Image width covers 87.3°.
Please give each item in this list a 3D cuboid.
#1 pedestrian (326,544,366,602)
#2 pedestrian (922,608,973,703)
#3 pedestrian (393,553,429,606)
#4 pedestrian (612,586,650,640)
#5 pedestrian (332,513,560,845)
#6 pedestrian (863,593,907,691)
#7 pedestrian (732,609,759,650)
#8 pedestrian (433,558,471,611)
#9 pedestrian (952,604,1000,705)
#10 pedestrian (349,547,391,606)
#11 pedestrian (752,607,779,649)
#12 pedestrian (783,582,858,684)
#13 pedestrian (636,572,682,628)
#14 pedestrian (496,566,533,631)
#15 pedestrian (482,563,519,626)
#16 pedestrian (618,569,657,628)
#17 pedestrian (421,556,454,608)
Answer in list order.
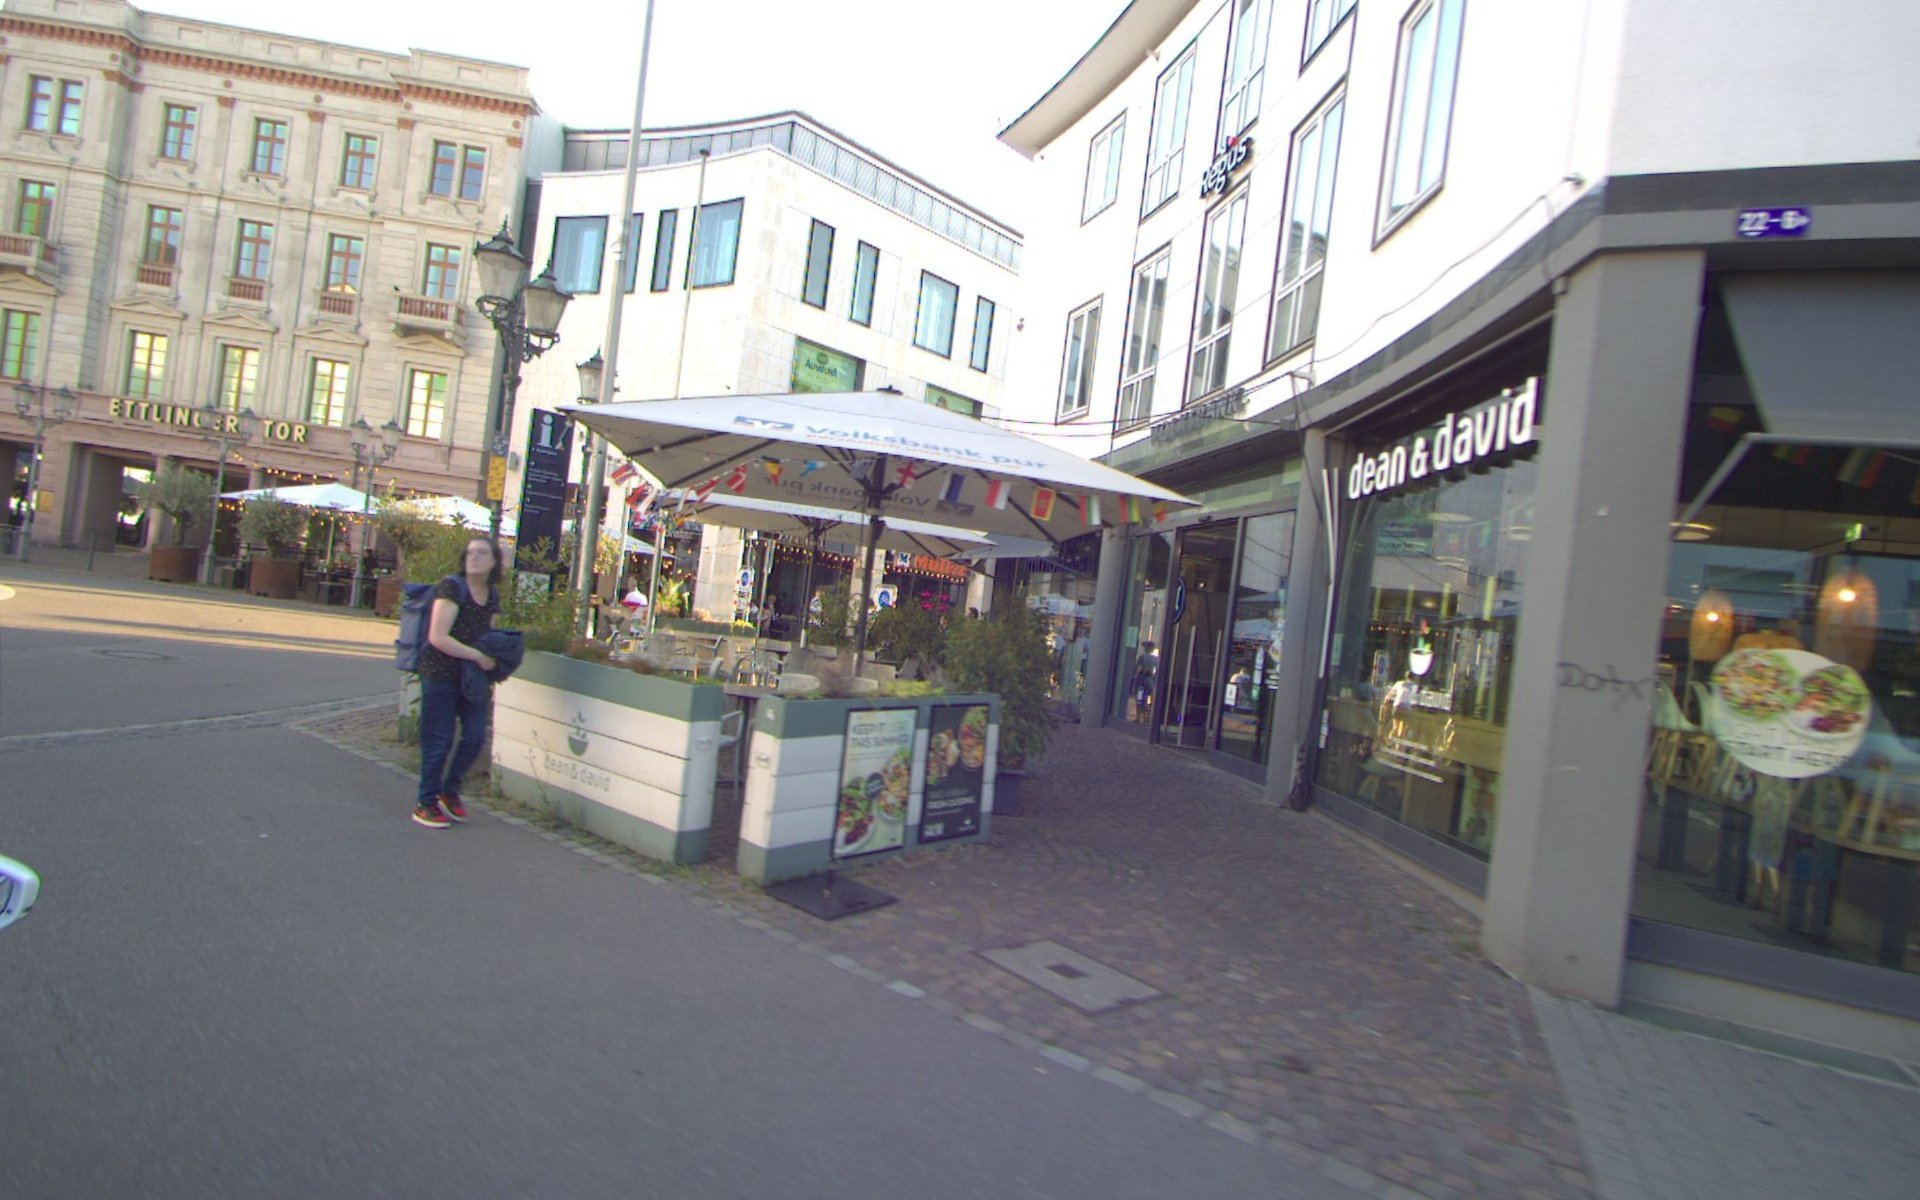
[{"bbox_3d":[-17.045,-0.744,27.926,0.613,1.496,0.545,7,0,27],"label":"pedestrian"},{"bbox_3d":[-0.235,1.045,19.008,0.595,1.711,0.498,7,0,43],"label":"pedestrian"},{"bbox_3d":[-16.564,-0.627,30.361,0.614,1.496,0.590,7,0,37],"label":"pedestrian"},{"bbox_3d":[-8.597,0.339,26.299,0.715,1.326,0.546,7,0,45],"label":"pedestrian"},{"bbox_3d":[-2.856,0.420,5.627,0.683,1.667,0.692,7,0,25],"label":"pedestrian"},{"bbox_3d":[-1.564,0.867,20.858,0.674,1.919,0.872,7,0,-6],"label":"pedestrian"},{"bbox_3d":[-6.300,0.856,29.588,0.541,1.124,0.536,7,0,-1],"label":"pedestrian"},{"bbox_3d":[-15.397,-0.473,30.523,0.612,1.496,0.625,7,0,16],"label":"pedestrian"},{"bbox_3d":[0.309,1.053,19.512,0.555,1.877,0.458,7,0,40],"label":"pedestrian"},{"bbox_3d":[-16.151,-0.637,27.559,0.672,1.496,0.588,7,0,29],"label":"pedestrian"},{"bbox_3d":[-5.860,0.838,30.280,0.463,1.170,0.497,7,0,35],"label":"pedestrian"},{"bbox_3d":[-2.882,0.691,20.924,1.007,1.955,1.011,7,0,15],"label":"pedestrian"},{"bbox_3d":[-9.750,0.002,32.621,0.854,1.667,0.928,7,0,38],"label":"pedestrian"},{"bbox_3d":[-10.901,-0.028,24.621,0.527,1.496,0.555,7,0,-44],"label":"pedestrian"},{"bbox_3d":[-11.502,-0.145,25.170,0.555,1.496,0.527,7,0,44],"label":"pedestrian"},{"bbox_3d":[-9.797,-0.042,30.593,0.682,1.667,0.693,7,0,37],"label":"pedestrian"},{"bbox_3d":[-16.174,-0.559,31.134,0.614,1.496,0.543,7,0,37],"label":"pedestrian"}]
